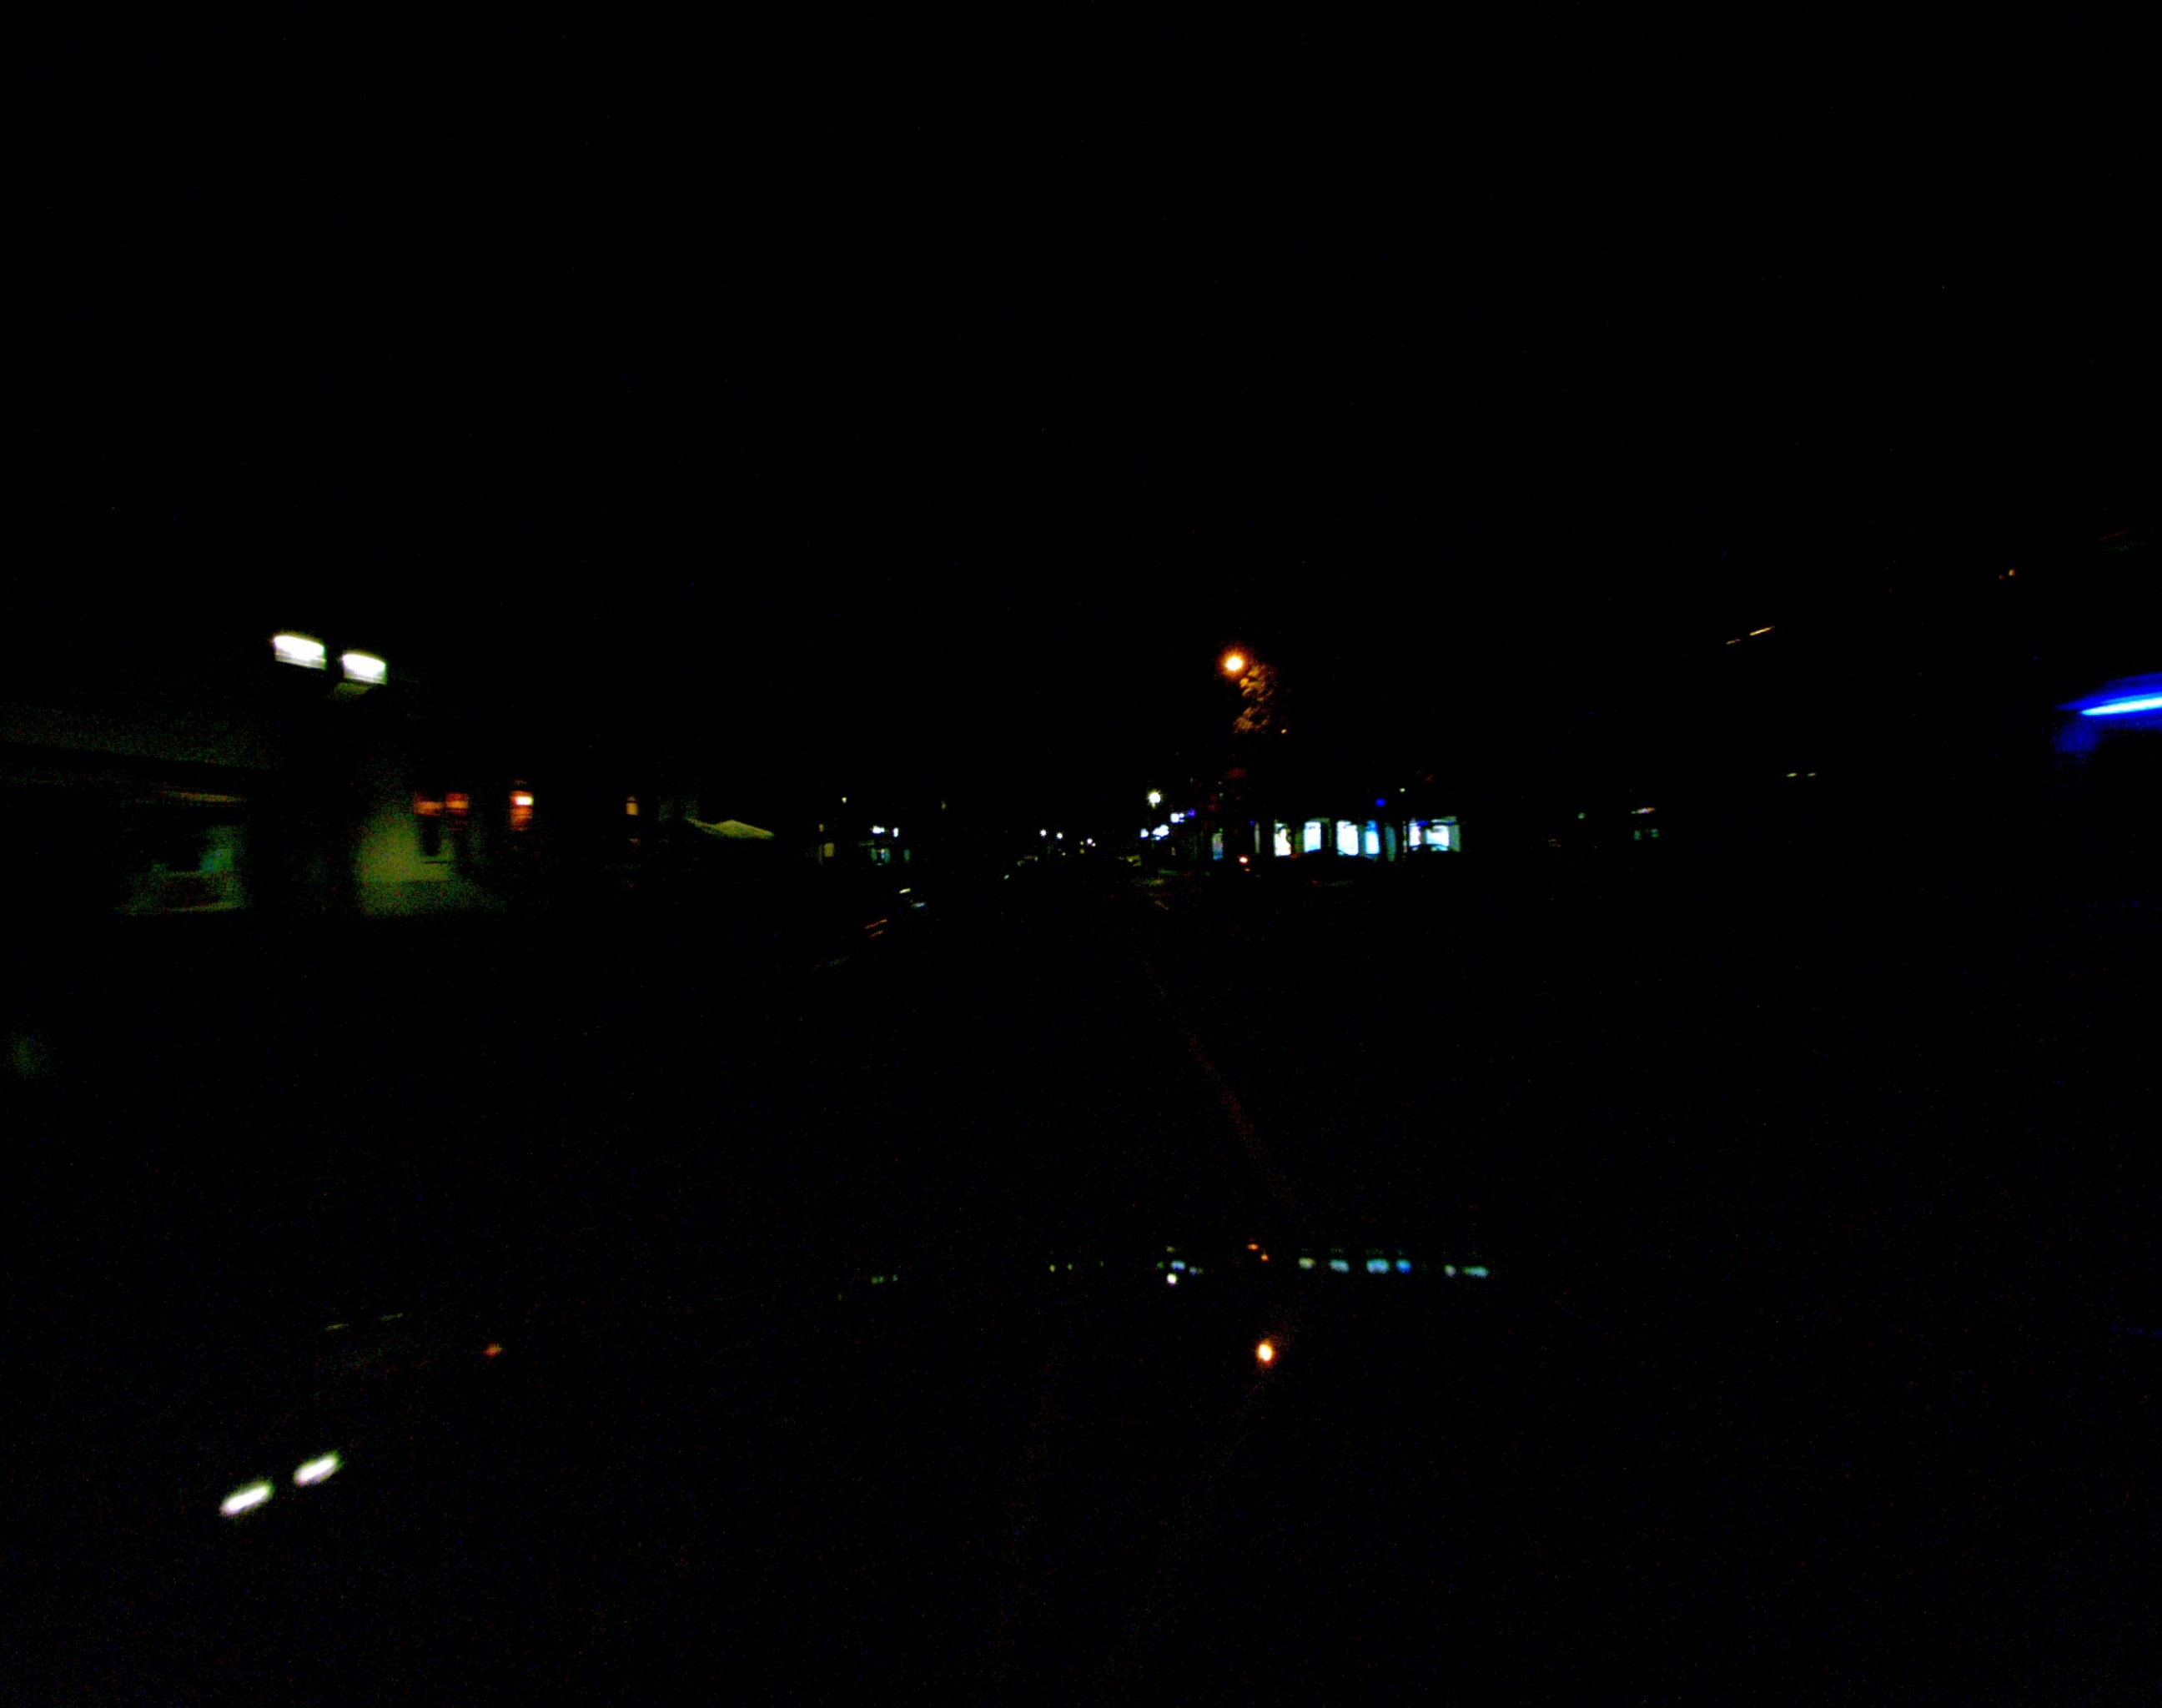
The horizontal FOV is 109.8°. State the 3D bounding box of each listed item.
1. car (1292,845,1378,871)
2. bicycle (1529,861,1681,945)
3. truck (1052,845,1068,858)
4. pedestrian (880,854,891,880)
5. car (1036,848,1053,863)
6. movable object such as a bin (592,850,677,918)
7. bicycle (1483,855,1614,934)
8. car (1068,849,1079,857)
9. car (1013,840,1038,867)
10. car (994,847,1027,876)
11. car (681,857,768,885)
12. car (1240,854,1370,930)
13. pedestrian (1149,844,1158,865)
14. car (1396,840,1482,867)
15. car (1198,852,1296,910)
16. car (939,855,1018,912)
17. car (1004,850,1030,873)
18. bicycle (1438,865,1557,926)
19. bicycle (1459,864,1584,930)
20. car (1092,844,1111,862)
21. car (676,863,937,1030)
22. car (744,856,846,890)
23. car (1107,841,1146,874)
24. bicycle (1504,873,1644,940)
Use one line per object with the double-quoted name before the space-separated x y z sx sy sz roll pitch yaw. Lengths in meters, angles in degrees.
"car" 14.584 0.220 43.777 4.339 1.389 1.803 -2 1 -1
"bicycle" 7.635 0.702 11.111 1.855 1.159 0.532 -1 1 0
"truck" -3.561 -0.437 131.588 2.109 2.230 6.289 -1 0 5
"pedestrian" -11.834 0.774 45.891 0.480 1.578 0.372 -1 1 36
"car" -4.510 0.187 95.553 1.912 1.792 4.936 -1 0 -1
"movable object such as a bin" -9.462 0.620 16.154 1.163 1.363 0.993 -2 1 -1
"bicycle" 7.772 0.661 12.673 1.855 1.246 0.532 -1 1 0
"car" -1.517 -0.204 146.857 1.737 1.493 4.001 -1 0 5
"car" -5.106 -0.036 69.274 2.140 2.313 5.149 -1 0 -5
"car" -4.648 0.459 50.652 1.793 1.811 4.578 -1 0 -1
"car" -20.371 0.969 43.567 4.154 1.540 1.803 0 -1 -1
"car" 4.904 0.764 17.223 1.726 1.420 3.976 -3 0 0
"pedestrian" 6.243 0.050 65.531 0.720 1.795 0.716 -1 1 0
"car" 20.659 -0.026 43.950 4.146 1.428 1.803 -2 1 -1
"car" 4.780 0.717 22.588 1.811 1.417 4.920 -3 0 0
"car" -2.996 0.824 23.054 1.774 1.528 4.216 1 0 1
"car" -4.749 0.516 56.631 1.688 1.650 4.296 -1 0 -2
"bicycle" 7.674 0.764 14.030 1.855 0.994 0.532 -3 1 0
"bicycle" 7.737 0.749 13.376 1.855 1.029 0.532 -3 1 0
"car" 2.351 -0.140 88.571 1.930 1.954 5.075 -1 0 -1
"car" -3.038 0.920 9.354 1.694 1.528 4.015 0 0 1
"car" -14.105 0.930 37.632 4.327 1.523 1.802 -1 2 -1
"car" 3.148 0.218 53.558 1.858 2.075 5.087 -3 1 -5
"bicycle" 7.642 0.803 11.808 1.855 0.962 0.501 -1 1 0
